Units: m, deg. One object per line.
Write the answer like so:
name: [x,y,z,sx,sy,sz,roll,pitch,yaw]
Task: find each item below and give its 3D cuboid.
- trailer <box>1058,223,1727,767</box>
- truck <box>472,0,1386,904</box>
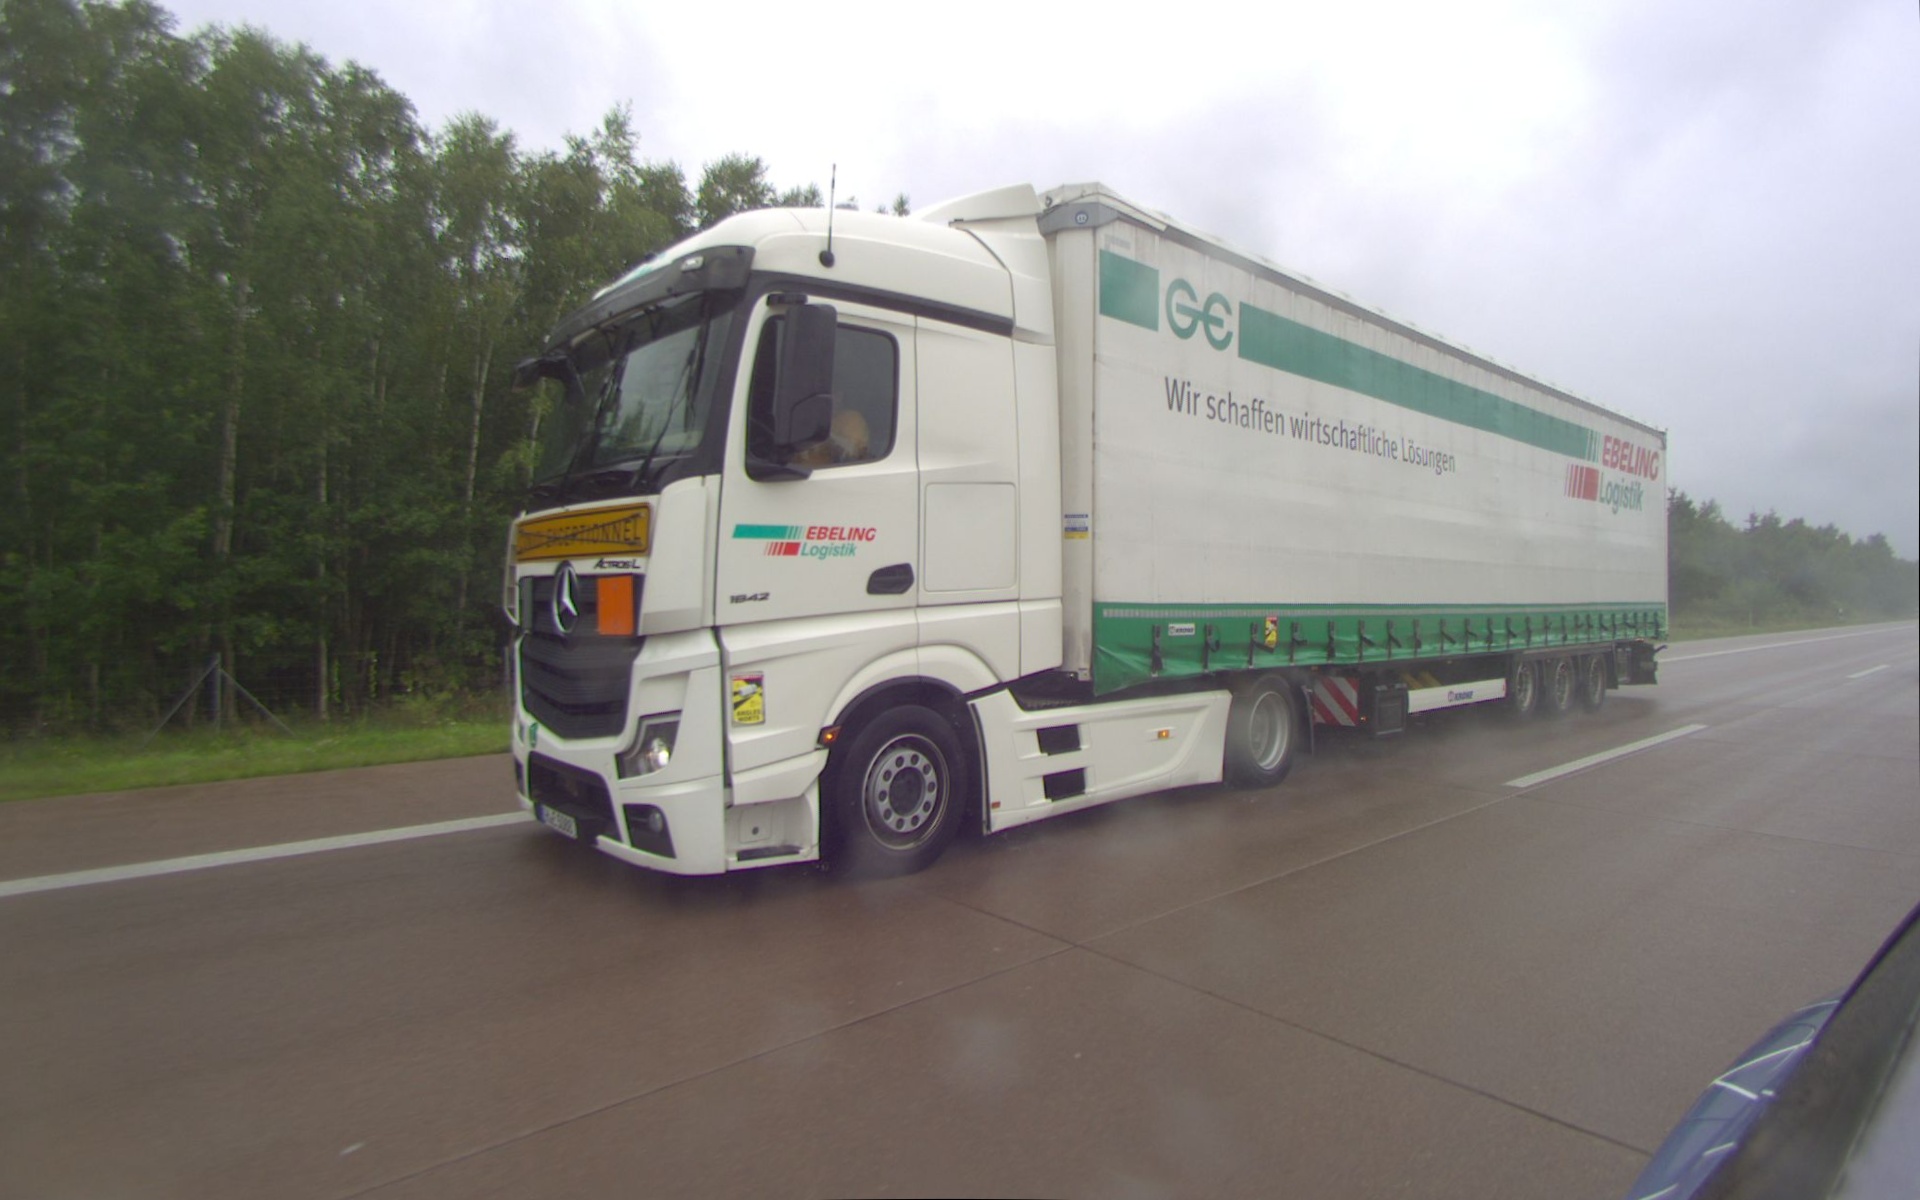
trailer: [6.781,-0.834,13.391,12.905,4.284,2.857,1,2,-42]
truck: [0.205,-0.823,7.450,6.239,4.157,2.886,1,2,-42]
